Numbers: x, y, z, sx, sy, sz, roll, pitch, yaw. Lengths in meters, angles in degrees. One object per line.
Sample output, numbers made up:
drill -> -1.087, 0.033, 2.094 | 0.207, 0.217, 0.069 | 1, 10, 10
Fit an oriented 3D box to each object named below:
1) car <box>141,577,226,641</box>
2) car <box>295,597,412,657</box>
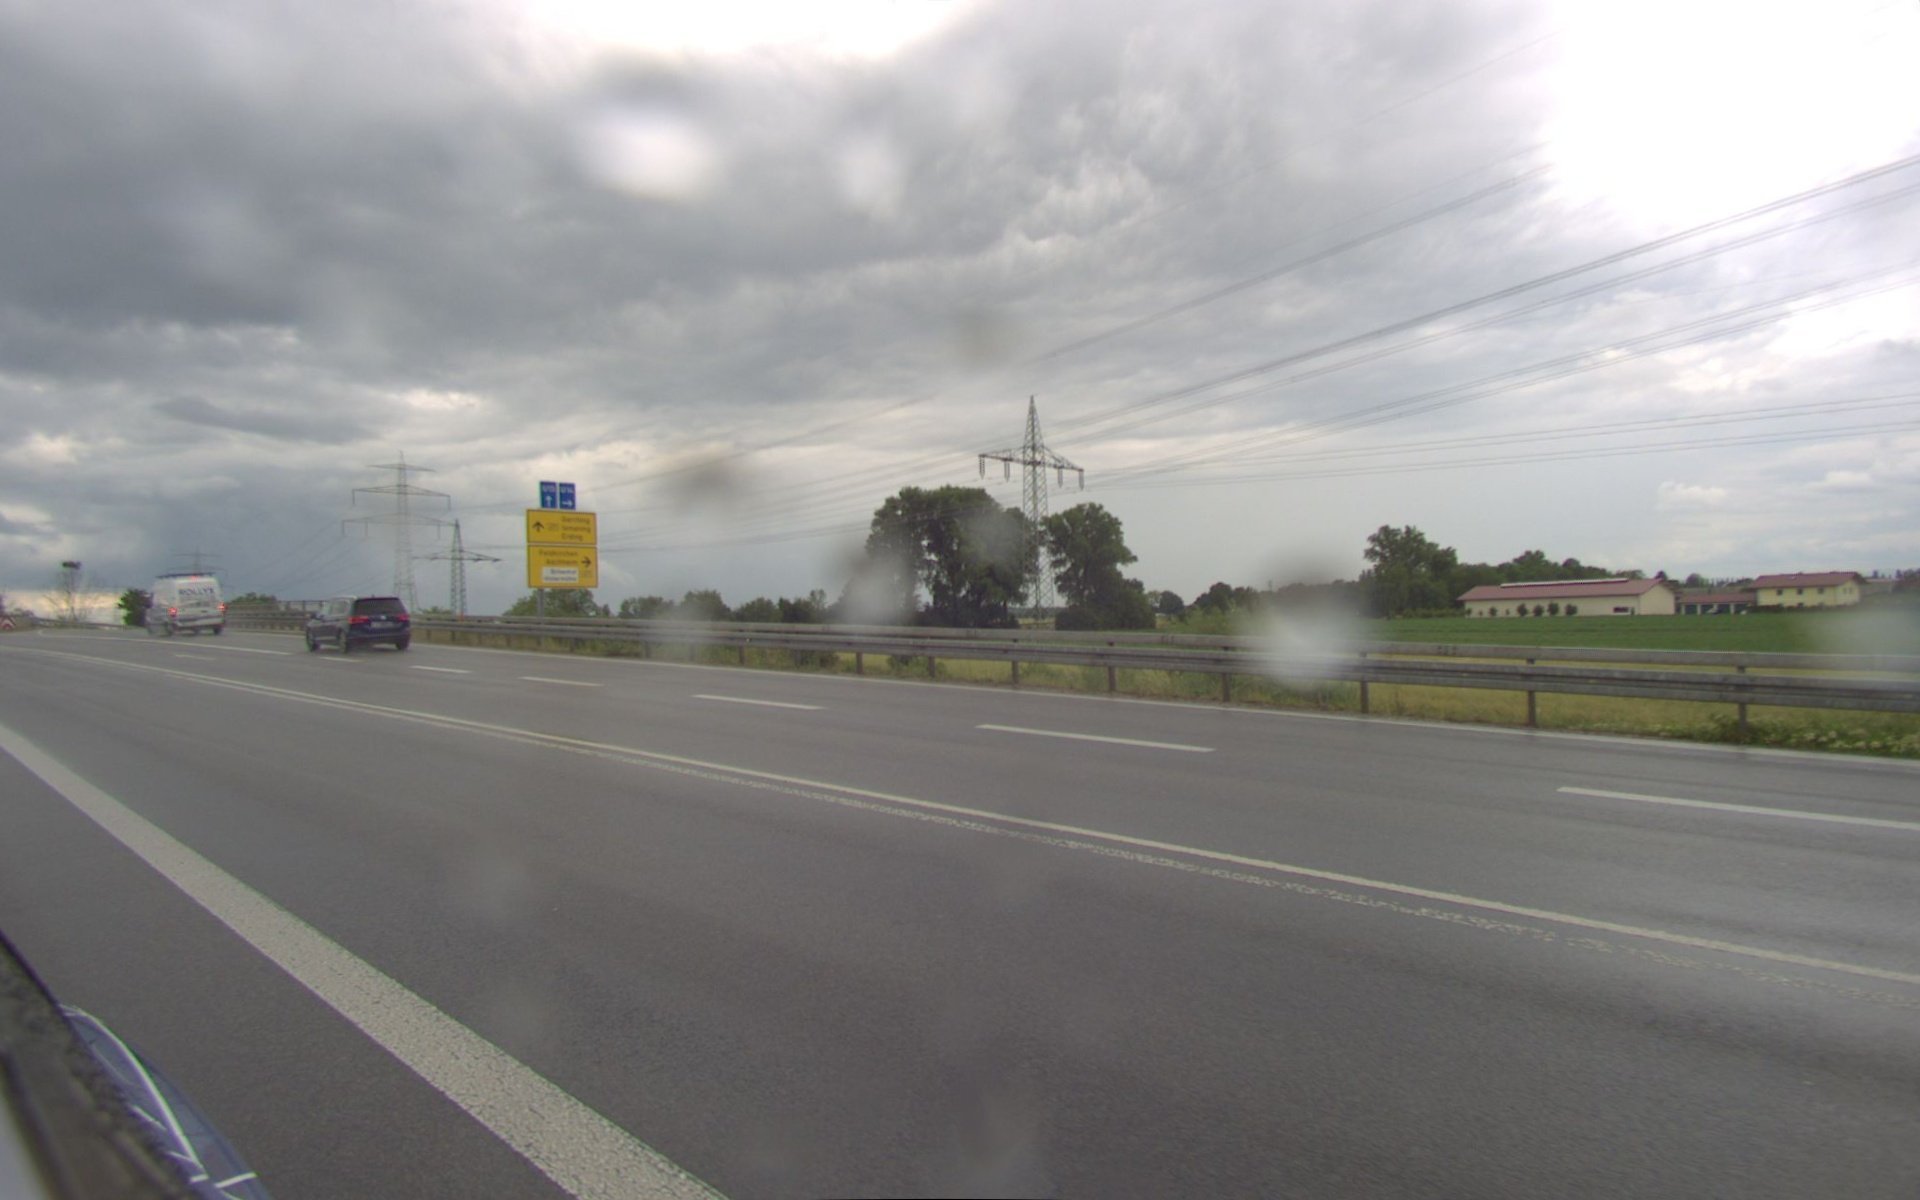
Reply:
car -> -34.731, 0.401, 45.184 | 5.457, 2.674, 1.949 | -1, 1, 41
car -> -18.290, 0.786, 30.445 | 4.635, 1.622, 1.690 | -1, 1, 42
